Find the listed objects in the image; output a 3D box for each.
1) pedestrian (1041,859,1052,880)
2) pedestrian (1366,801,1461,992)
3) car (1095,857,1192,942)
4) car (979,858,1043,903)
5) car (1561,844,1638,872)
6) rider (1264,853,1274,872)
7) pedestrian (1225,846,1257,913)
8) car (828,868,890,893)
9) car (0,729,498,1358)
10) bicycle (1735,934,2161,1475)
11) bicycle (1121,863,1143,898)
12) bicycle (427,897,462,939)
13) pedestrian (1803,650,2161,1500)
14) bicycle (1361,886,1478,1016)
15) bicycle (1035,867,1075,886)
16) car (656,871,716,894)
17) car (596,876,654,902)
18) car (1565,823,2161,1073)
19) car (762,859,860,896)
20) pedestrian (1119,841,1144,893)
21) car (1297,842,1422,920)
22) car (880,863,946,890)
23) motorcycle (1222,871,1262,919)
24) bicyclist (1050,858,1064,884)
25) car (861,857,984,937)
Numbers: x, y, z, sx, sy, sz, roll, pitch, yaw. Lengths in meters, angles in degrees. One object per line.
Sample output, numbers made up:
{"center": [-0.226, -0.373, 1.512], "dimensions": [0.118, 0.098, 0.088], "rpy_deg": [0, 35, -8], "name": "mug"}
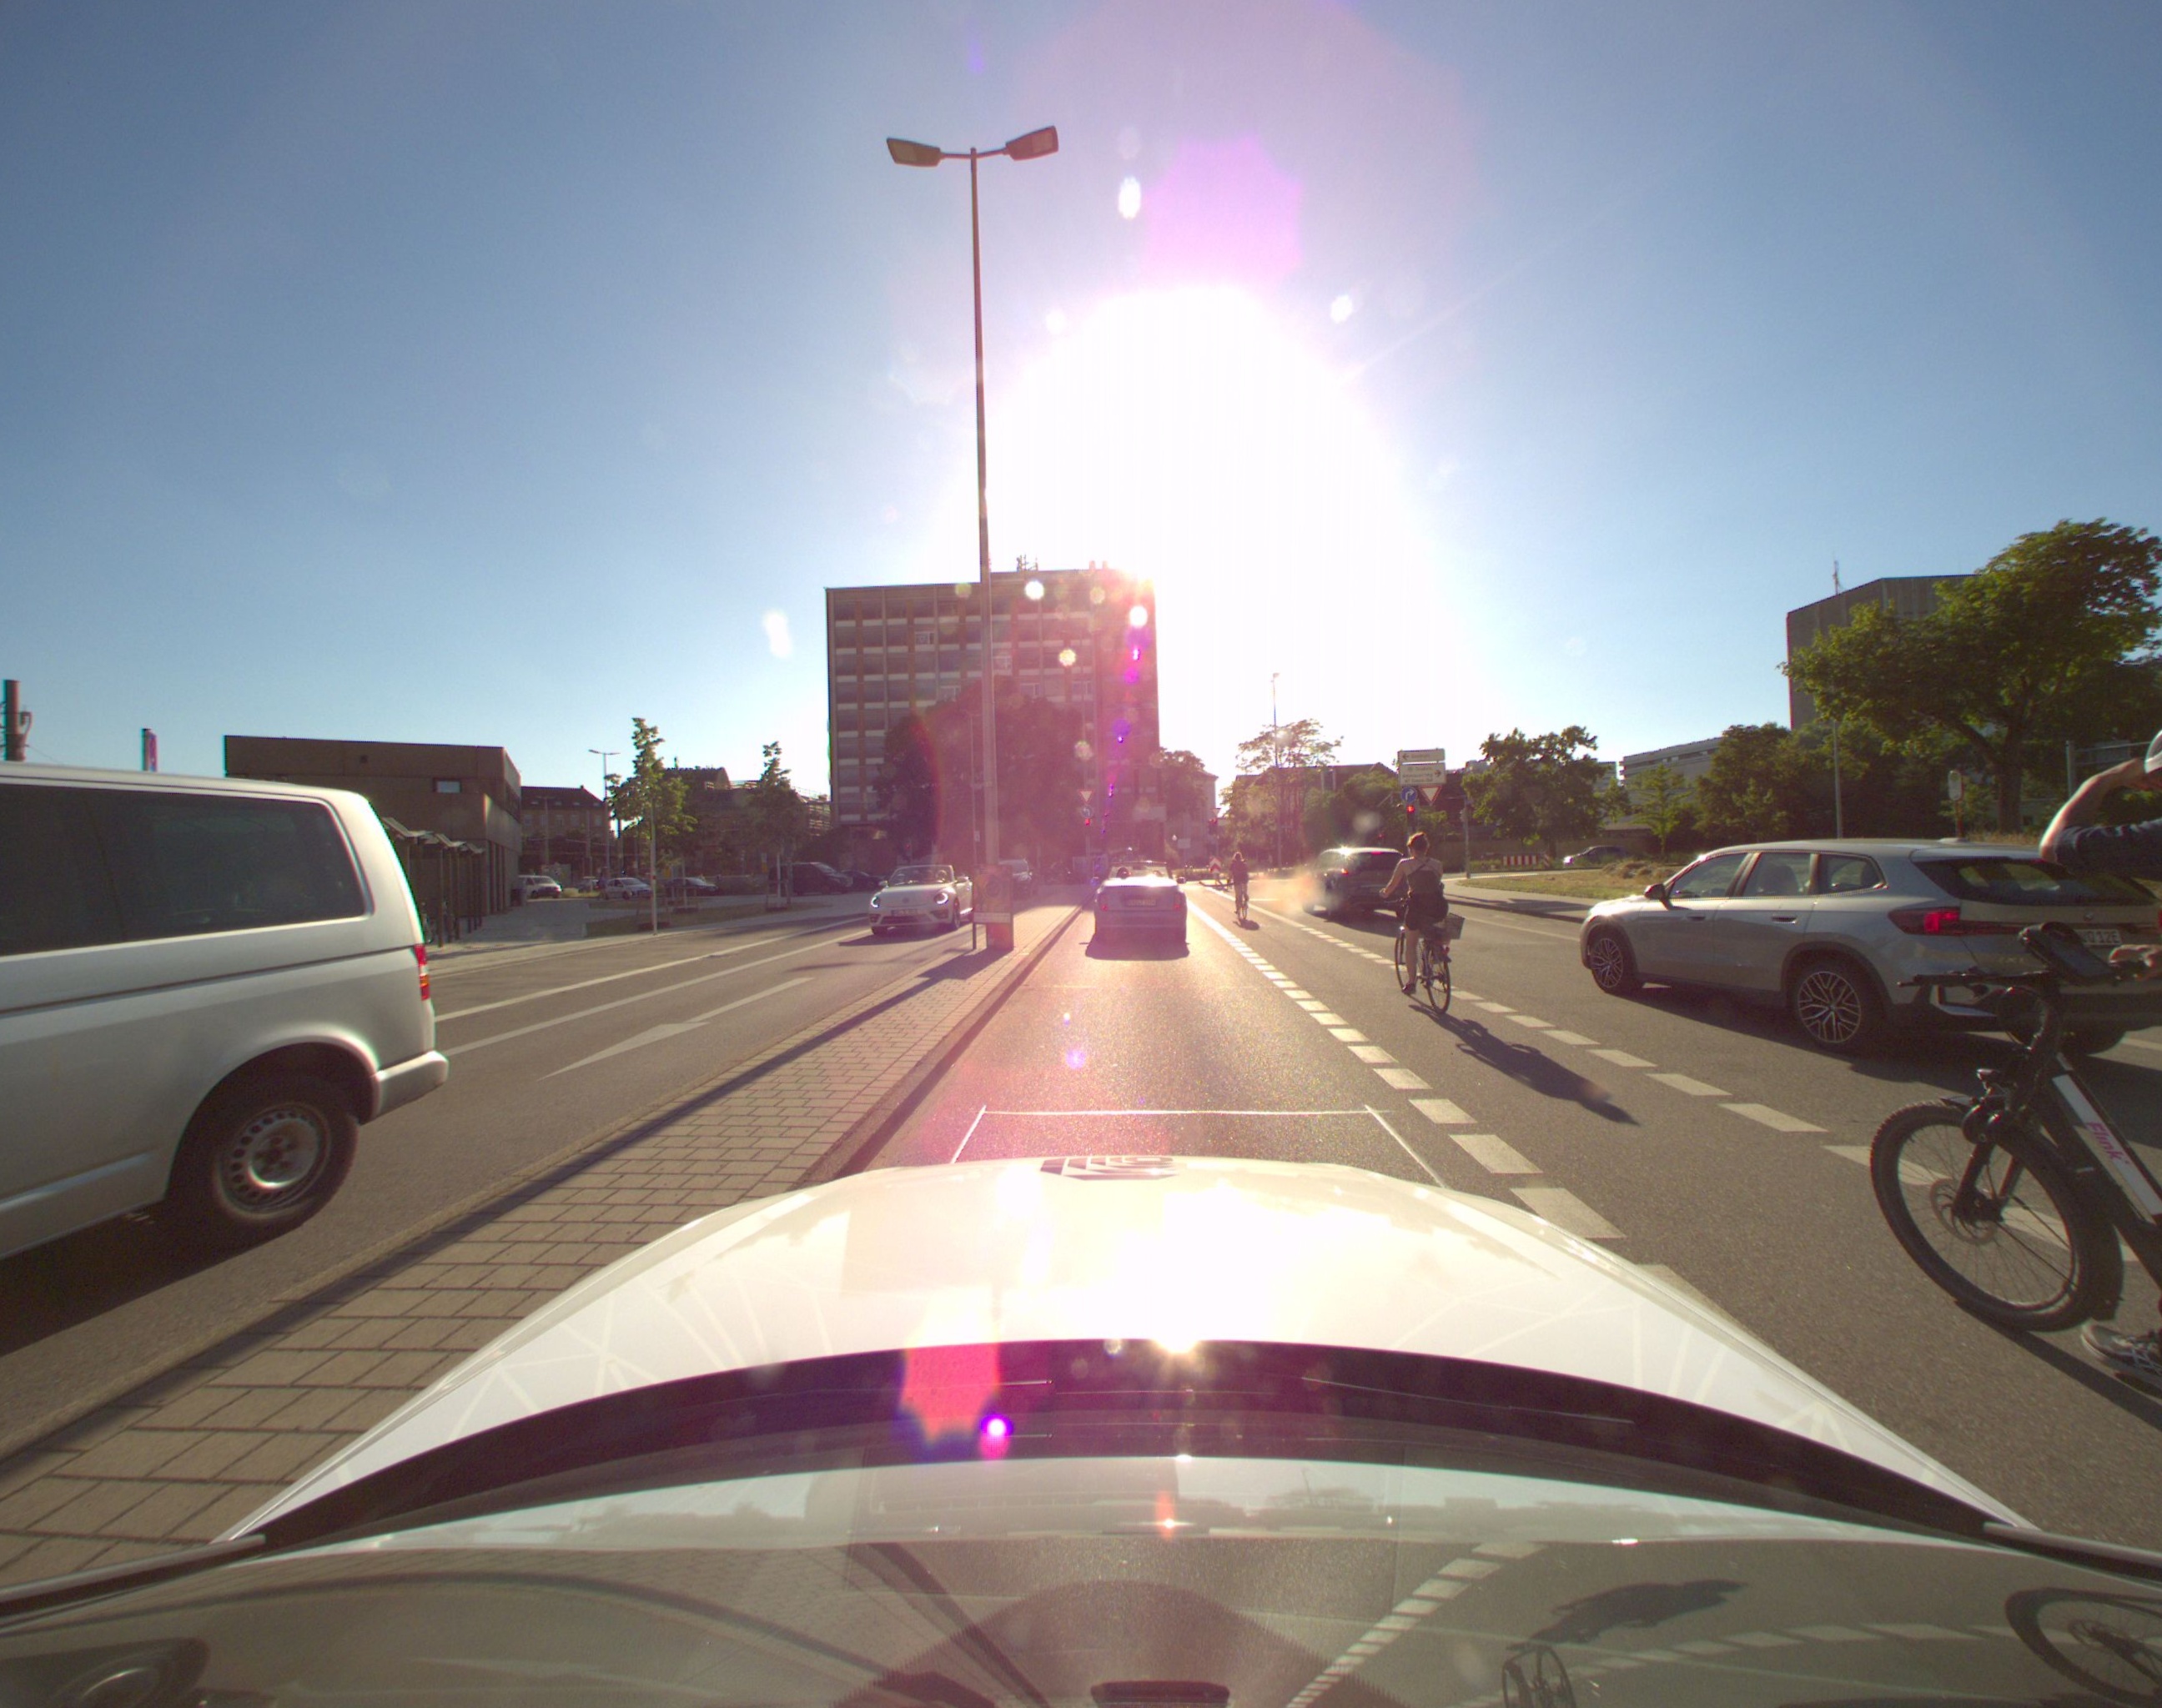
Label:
{"center": [-3.116, 1.389, 73.154], "dimensions": [0.863, 1.869, 0.663], "rpy_deg": [-1, -2, 14], "name": "pedestrian"}
{"center": [3.409, 0.421, 8.417], "dimensions": [0.655, 1.869, 0.873], "rpy_deg": [0, -2, 5], "name": "pedestrian"}
{"center": [1.126, 0.822, 15.936], "dimensions": [1.654, 1.441, 4.155], "rpy_deg": [0, -1, 2], "name": "car"}
{"center": [-2.590, 0.950, 30.966], "dimensions": [1.792, 1.530, 4.003], "rpy_deg": [-3, 0, 3], "name": "car"}
{"center": [31.769, 0.249, 49.985], "dimensions": [3.614, 1.560, 1.656], "rpy_deg": [-2, -1, 12], "name": "car"}
{"center": [15.739, 0.730, 68.211], "dimensions": [0.746, 1.598, 0.592], "rpy_deg": [-1, -2, 15], "name": "rider"}
{"center": [3.902, 0.625, 19.917], "dimensions": [0.585, 1.598, 1.025], "rpy_deg": [0, -2, 2], "name": "pedestrian"}
{"center": [-14.929, 1.790, 54.896], "dimensions": [3.617, 1.560, 1.604], "rpy_deg": [-2, -1, 8], "name": "car"}
{"center": [-4.348, 0.631, 2.146], "dimensions": [1.900, 1.945, 4.711], "rpy_deg": [-3, -1, 4], "name": "car"}
{"center": [2.811, 0.872, 1.993], "dimensions": [0.552, 1.171, 2.373], "rpy_deg": [0, -1, 2], "name": "bicycle"}
{"center": [1.858, 0.943, 29.429], "dimensions": [0.604, 1.192, 2.419], "rpy_deg": [0, -1, 7], "name": "bicycle"}
{"center": [-18.516, 1.832, 23.732], "dimensions": [0.611, 1.115, 1.877], "rpy_deg": [1, -2, -32], "name": "bicycle"}
{"center": [2.776, 0.495, 2.176], "dimensions": [0.804, 1.869, 0.956], "rpy_deg": [0, -2, -1], "name": "pedestrian"}
{"center": [3.443, 0.930, 8.452], "dimensions": [0.561, 1.151, 1.952], "rpy_deg": [0, -1, 6], "name": "bicycle"}
{"center": [-1.629, 1.417, 51.348], "dimensions": [2.392, 1.192, 0.611], "rpy_deg": [0, -2, 9], "name": "bicycle"}
{"center": [-28.697, 2.063, 59.204], "dimensions": [3.567, 1.560, 1.654], "rpy_deg": [-2, -1, 8], "name": "car"}
{"center": [-29.711, 2.266, 53.058], "dimensions": [3.554, 1.560, 1.655], "rpy_deg": [-2, -1, 30], "name": "car"}
{"center": [6.520, 0.641, 7.379], "dimensions": [1.780, 1.594, 4.330], "rpy_deg": [0, -1, 2], "name": "car"}
{"center": [-15.707, 1.377, 47.446], "dimensions": [5.106, 1.894, 2.259], "rpy_deg": [-3, -1, 23], "name": "car"}
{"center": [1.836, 0.466, 29.512], "dimensions": [0.829, 1.869, 0.923], "rpy_deg": [0, -2, 7], "name": "pedestrian"}
{"center": [6.678, 0.640, 20.055], "dimensions": [1.823, 1.689, 4.372], "rpy_deg": [0, -1, 4], "name": "car"}
{"center": [-10.502, 1.421, 51.077], "dimensions": [3.613, 1.560, 1.656], "rpy_deg": [-2, -1, 13], "name": "car"}
{"center": [3.906, 0.974, 19.950], "dimensions": [0.611, 1.098, 2.361], "rpy_deg": [0, -1, 2], "name": "motorcycle"}
{"center": [-1.526, 1.068, 51.338], "dimensions": [0.747, 1.598, 0.591], "rpy_deg": [-1, -2, 9], "name": "bicyclist"}
{"center": [-3.452, 0.889, 18.526], "dimensions": [1.792, 1.530, 4.002], "rpy_deg": [-3, 0, 2], "name": "car"}
